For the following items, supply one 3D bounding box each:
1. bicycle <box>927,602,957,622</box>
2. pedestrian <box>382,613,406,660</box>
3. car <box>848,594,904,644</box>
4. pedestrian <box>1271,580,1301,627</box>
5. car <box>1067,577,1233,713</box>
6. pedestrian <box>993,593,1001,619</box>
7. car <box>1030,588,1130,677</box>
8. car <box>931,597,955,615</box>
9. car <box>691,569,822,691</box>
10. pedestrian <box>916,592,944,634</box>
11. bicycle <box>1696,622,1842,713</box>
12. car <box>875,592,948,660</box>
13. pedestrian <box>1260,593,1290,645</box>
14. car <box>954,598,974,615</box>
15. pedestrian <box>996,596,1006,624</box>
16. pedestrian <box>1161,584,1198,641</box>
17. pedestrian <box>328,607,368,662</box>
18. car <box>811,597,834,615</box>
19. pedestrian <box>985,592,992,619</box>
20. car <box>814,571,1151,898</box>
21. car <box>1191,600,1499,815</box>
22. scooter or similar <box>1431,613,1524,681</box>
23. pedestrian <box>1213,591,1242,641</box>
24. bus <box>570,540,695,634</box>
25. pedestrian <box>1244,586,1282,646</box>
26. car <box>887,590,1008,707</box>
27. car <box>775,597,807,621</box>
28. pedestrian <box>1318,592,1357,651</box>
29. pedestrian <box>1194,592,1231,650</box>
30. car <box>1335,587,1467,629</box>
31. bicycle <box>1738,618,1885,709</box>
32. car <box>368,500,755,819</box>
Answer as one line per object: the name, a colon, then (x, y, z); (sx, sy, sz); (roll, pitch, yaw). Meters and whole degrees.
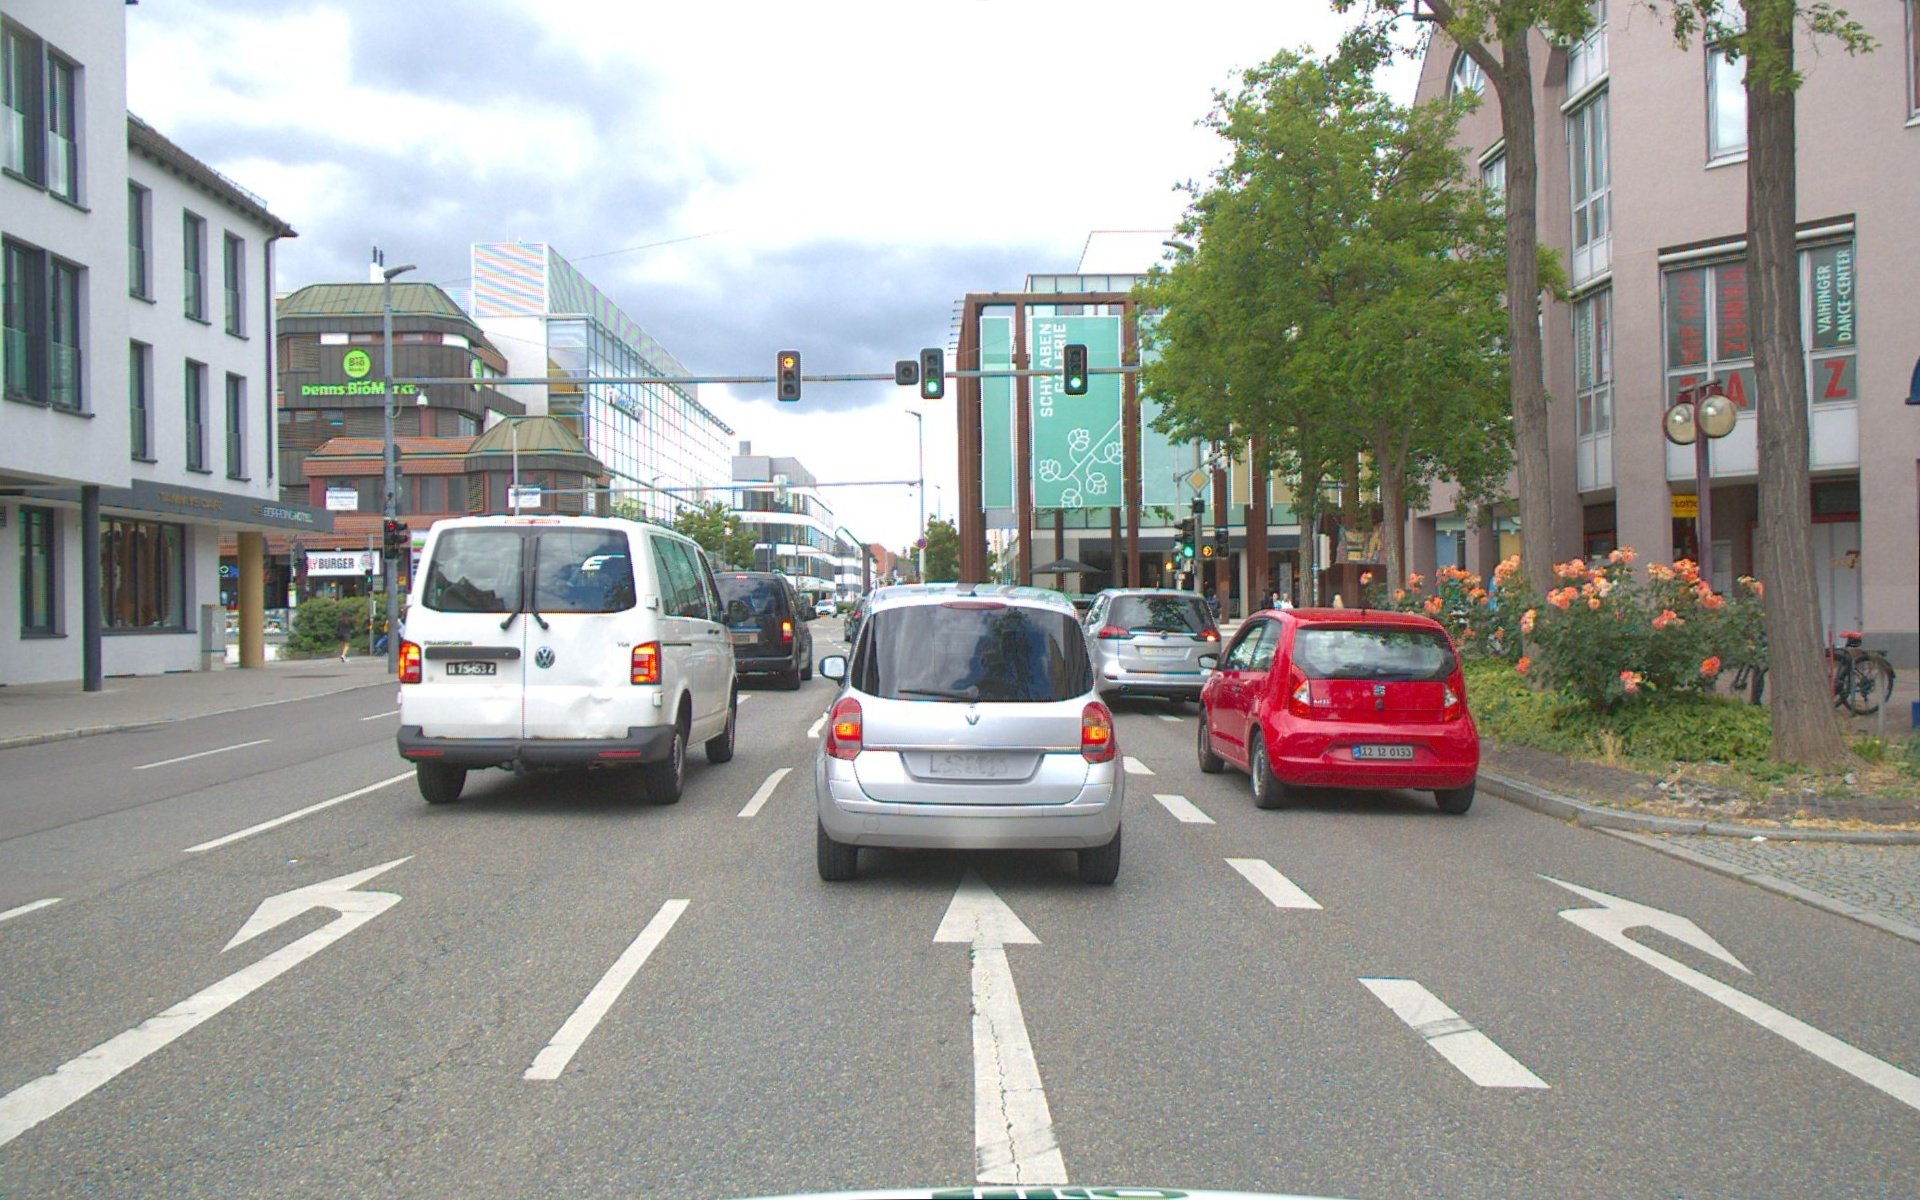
bicycle: (-0.959, 0.634, 87.948); (1.528, 1.010, 0.752); (-1, 0, 2)
pedestrian: (-19.536, 1.265, 57.130); (0.625, 1.615, 0.526); (-1, 0, 0)
car: (-2.645, 0.587, 52.959); (1.636, 1.521, 3.641); (1, 0, -1)
pedestrian: (11.298, 0.121, 57.383); (0.805, 1.623, 1.039); (0, 0, -2)
car: (2.610, 0.581, 23.644); (1.704, 1.730, 4.379); (1, 0, -2)
pedestrian: (2.240, 0.340, 100.472); (0.418, 1.576, 0.481); (-1, 0, -3)
car: (2.464, 0.632, 34.811); (1.704, 1.730, 4.380); (1, 0, -1)
car: (-1.335, 0.491, 132.069); (1.839, 1.358, 4.000); (1, 0, 0)
car: (-3.333, 0.455, 27.824); (1.673, 1.852, 4.571); (1, 0, -1)
pedestrian: (-1.199, 0.528, 66.307); (0.854, 1.675, 0.678); (0, 0, 33)
bicycle: (9.822, 0.805, 20.110); (1.541, 1.067, 0.404); (-1, 0, 41)
car: (-1.124, 0.584, 39.526); (1.636, 1.521, 3.641); (1, 0, -1)
pedestrian: (10.273, 0.616, 53.998); (0.727, 1.654, 0.953); (-1, 0, -4)
car: (0.374, 0.626, 160.231); (1.839, 1.591, 4.000); (1, 0, 0)
pedestrian: (1.832, 0.437, 74.373); (0.438, 1.241, 0.606); (-1, 0, 2)
pedestrian: (6.627, 0.372, 49.950); (0.861, 1.711, 1.119); (-1, 0, -4)
pedestrian: (-20.076, 1.117, 54.237); (0.928, 1.786, 0.945); (-1, 0, 0)
car: (-11.905, 0.520, 143.520); (1.626, 1.491, 3.999); (-2, 0, -1)
pedestrian: (1.733, 0.330, 100.421); (0.418, 1.576, 0.481); (-1, 0, -3)
car: (0.087, 0.662, 9.986); (1.636, 1.581, 3.641); (1, 0, -1)
car: (2.968, 0.756, 13.463); (1.593, 1.473, 3.641); (1, 0, -1)
scooter or similar: (8.684, 0.778, 27.830); (0.462, 1.106, 1.878); (-1, 0, -18)
pedestrian: (8.881, 0.527, 55.030); (0.727, 1.654, 0.953); (-1, 0, -4)
bus: (-13.347, -0.512, 68.609); (2.927, 3.385, 12.301); (-3, 0, -2)
pedestrian: (9.254, 0.493, 50.539); (0.861, 1.798, 1.119); (-1, 0, -4)
car: (-0.201, 0.660, 24.655); (1.636, 1.581, 3.641); (1, 0, -1)
car: (-11.184, 0.584, 109.418); (1.709, 1.484, 4.234); (-2, 0, -1)
pedestrian: (11.837, 0.666, 51.895); (0.861, 1.798, 1.119); (-1, 0, -4)
pedestrian: (7.657, 0.623, 50.151); (0.861, 1.711, 1.119); (-1, 0, -4)
car: (15.309, 0.286, 57.561); (4.090, 1.428, 1.799); (0, 0, -4)
bicycle: (10.457, 0.768, 20.342); (1.541, 1.067, 0.404); (-1, 0, 41)
car: (-2.889, 0.383, 13.182); (1.953, 2.049, 4.839); (1, 0, -1)
